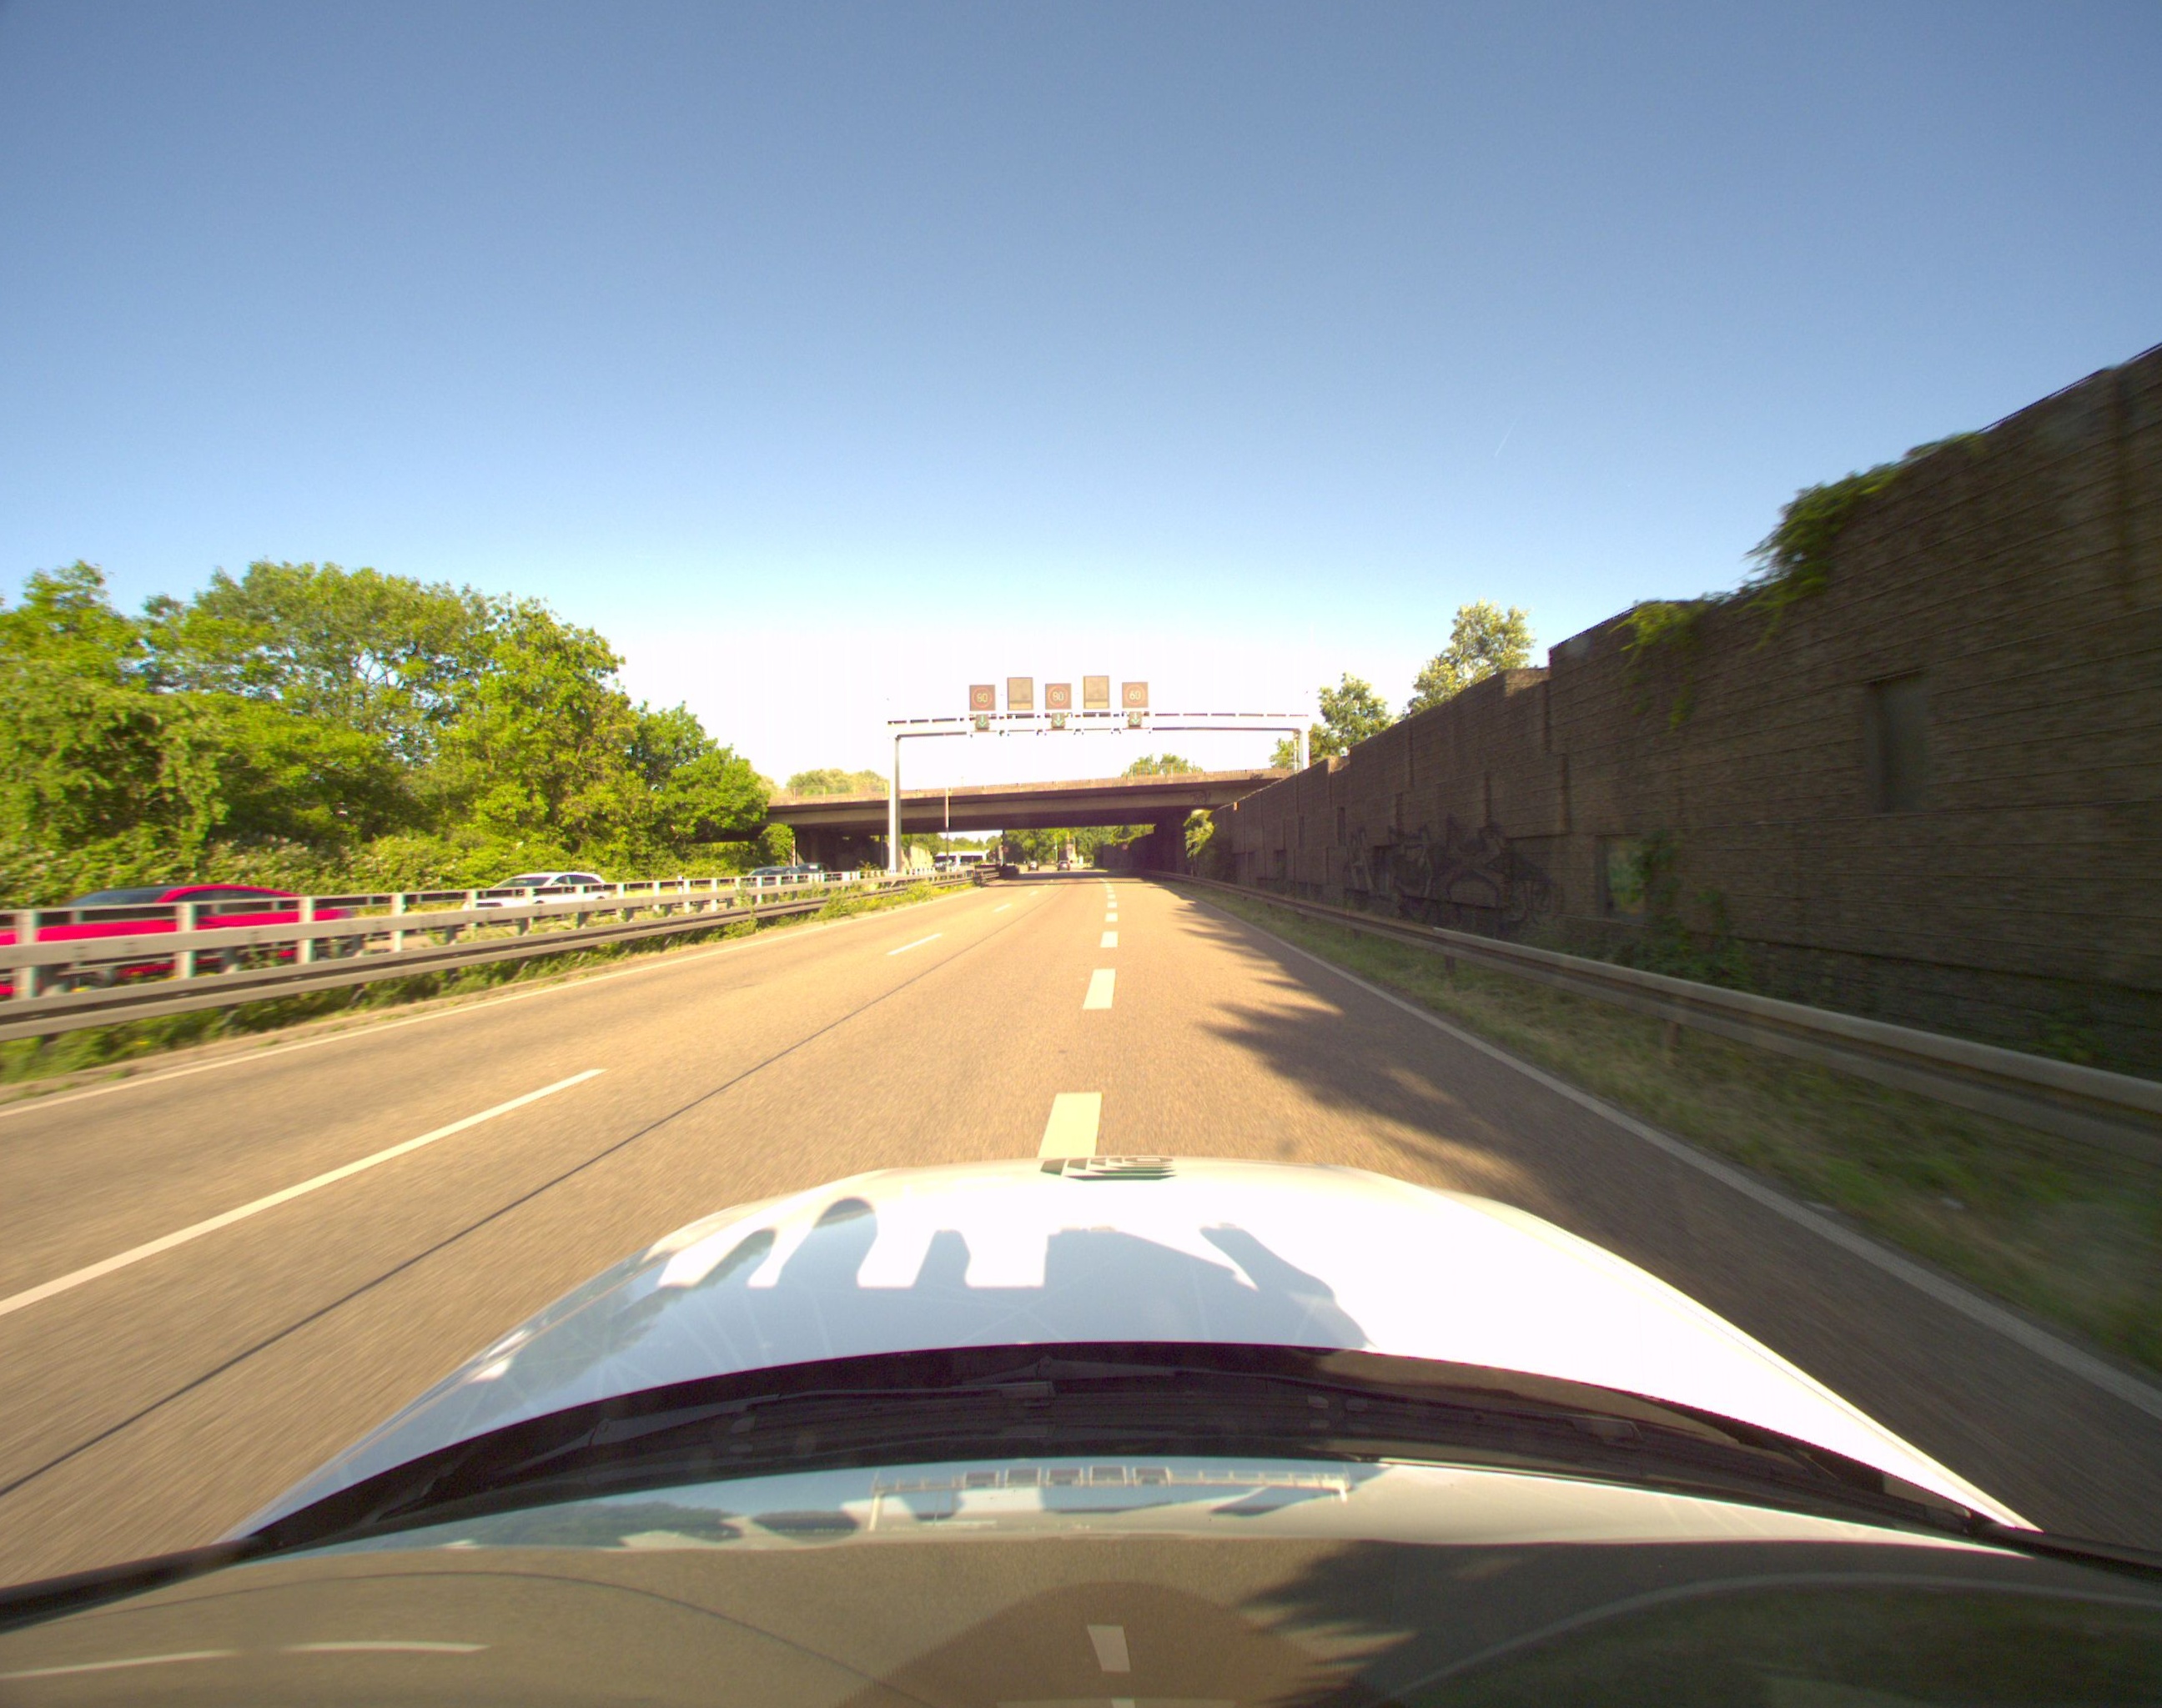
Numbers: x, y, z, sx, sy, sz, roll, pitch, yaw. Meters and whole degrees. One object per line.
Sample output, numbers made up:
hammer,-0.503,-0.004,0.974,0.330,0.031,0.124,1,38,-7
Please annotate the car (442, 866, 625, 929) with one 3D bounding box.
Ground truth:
car,-16.002,1.196,24.180,1.985,1.641,4.725,-1,0,4

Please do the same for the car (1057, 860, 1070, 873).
car,-2.595,1.821,120.720,1.988,1.926,3.998,-1,0,-1

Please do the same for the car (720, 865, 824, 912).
car,-11.965,1.276,31.882,1.985,1.641,4.725,-1,0,4

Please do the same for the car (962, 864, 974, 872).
car,-24.472,2.984,176.425,1.988,1.596,4.423,-1,0,-2

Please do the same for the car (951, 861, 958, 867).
car,-38.676,3.103,249.558,1.895,1.574,4.798,1,0,-6

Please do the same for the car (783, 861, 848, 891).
car,-15.547,1.281,48.028,1.985,1.641,4.725,-1,0,4

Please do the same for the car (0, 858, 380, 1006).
car,-12.930,0.939,11.330,1.985,1.641,4.725,-3,0,4

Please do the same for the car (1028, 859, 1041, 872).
car,-7.393,1.792,129.897,1.988,1.926,3.998,-1,0,-1

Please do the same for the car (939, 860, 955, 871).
car,-22.442,1.972,136.822,1.988,1.706,4.558,-2,0,-2
